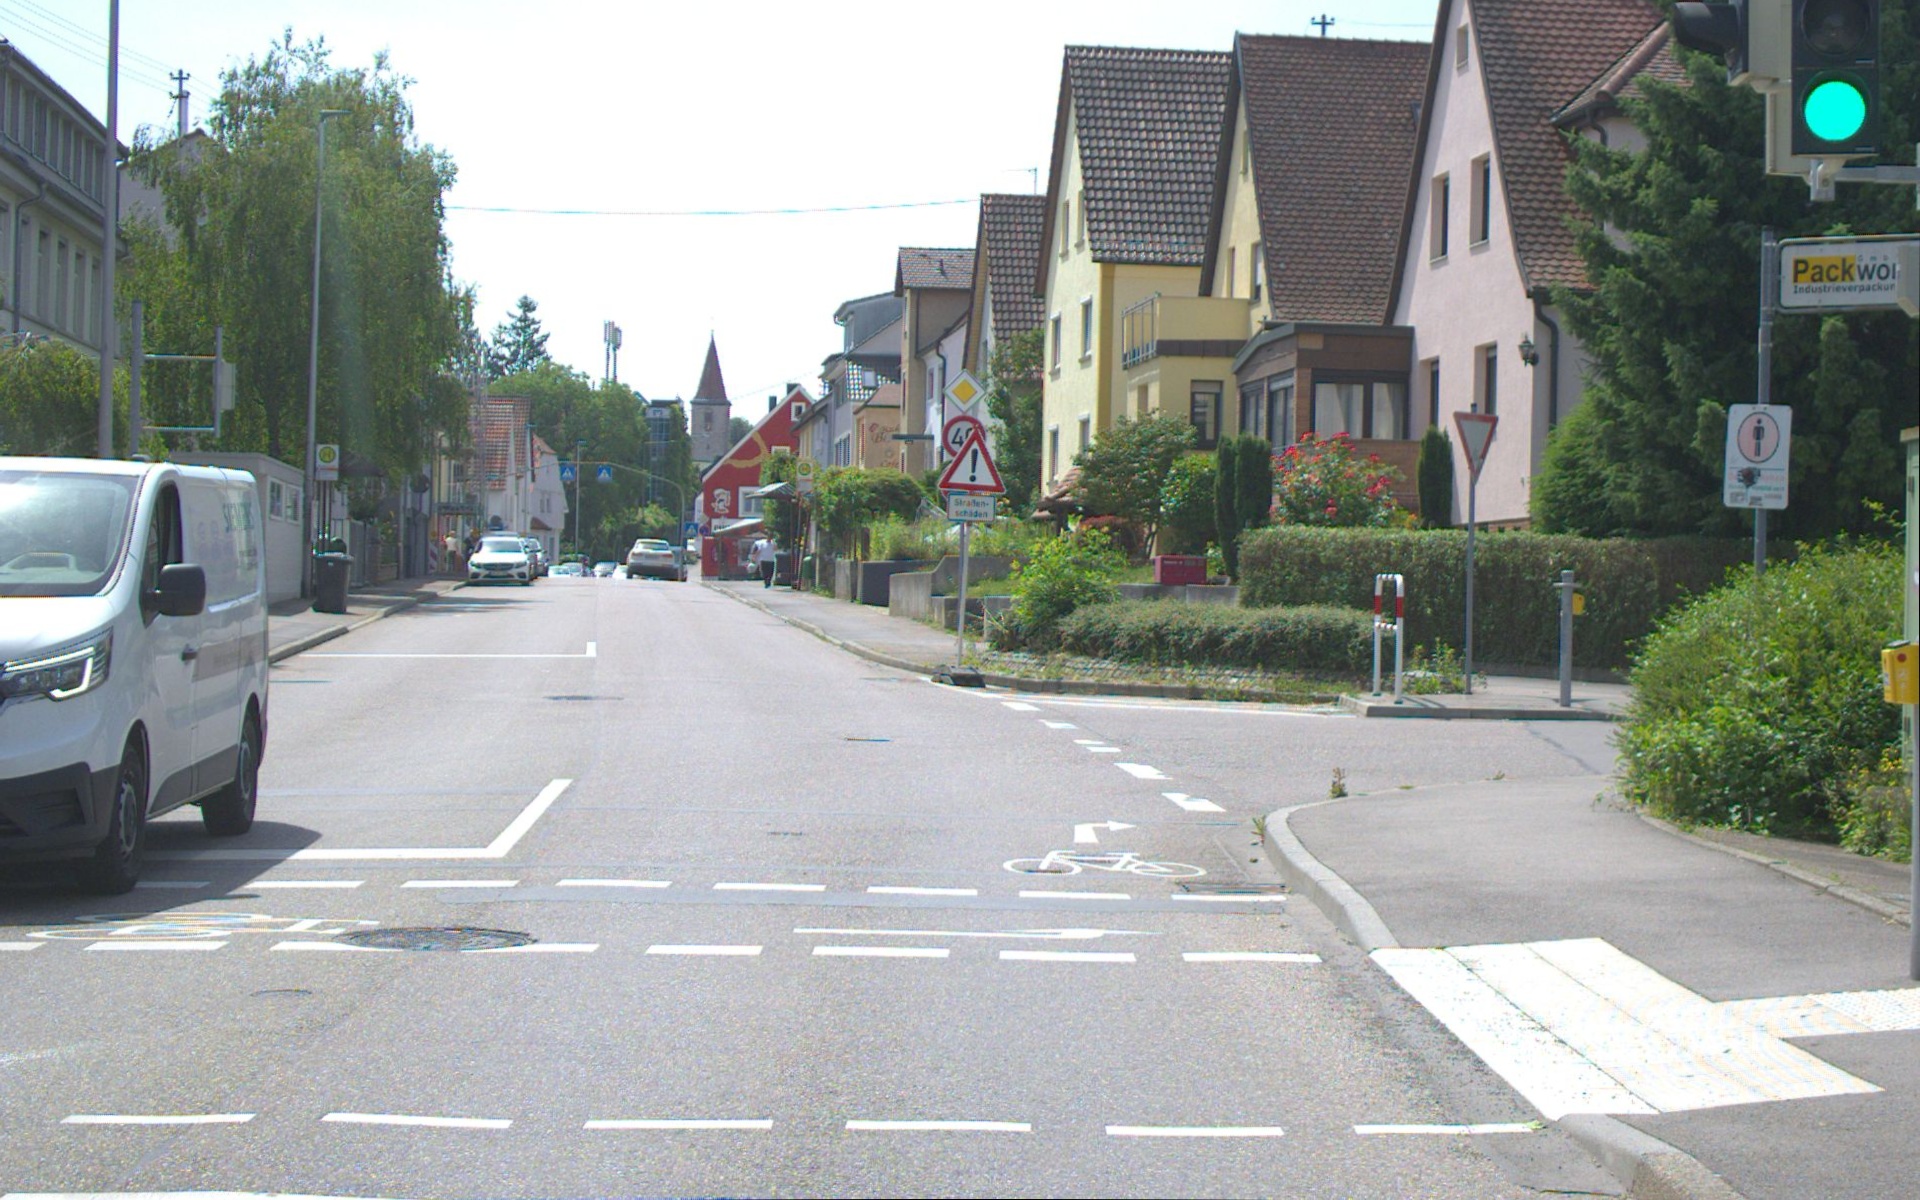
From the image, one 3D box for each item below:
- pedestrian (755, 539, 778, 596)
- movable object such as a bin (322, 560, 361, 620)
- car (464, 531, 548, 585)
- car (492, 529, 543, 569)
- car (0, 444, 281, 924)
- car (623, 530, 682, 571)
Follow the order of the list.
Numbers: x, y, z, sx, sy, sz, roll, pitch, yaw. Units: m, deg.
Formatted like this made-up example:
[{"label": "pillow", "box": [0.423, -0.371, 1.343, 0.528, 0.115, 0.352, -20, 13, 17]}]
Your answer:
[{"label": "pedestrian", "box": [-5.951, -1.014, 105.908, 0.646, 1.724, 0.608, -1, 2, -6]}, {"label": "movable object such as a bin", "box": [-11.272, -0.185, 62.647, 0.607, 1.042, 0.725, 2, 3, -6]}, {"label": "car", "box": [-13.726, -1.286, 104.114, 2.110, 1.555, 4.314, 1, 1, -2]}, {"label": "car", "box": [-18.012, -2.064, 139.941, 1.993, 1.555, 4.315, 1, 1, -7]}, {"label": "car", "box": [-4.590, 0.309, 16.433, 1.879, 1.958, 4.903, 0, 1, -2]}, {"label": "car", "box": [-12.154, -1.952, 135.634, 1.993, 1.555, 4.315, 1, 1, -9]}]
